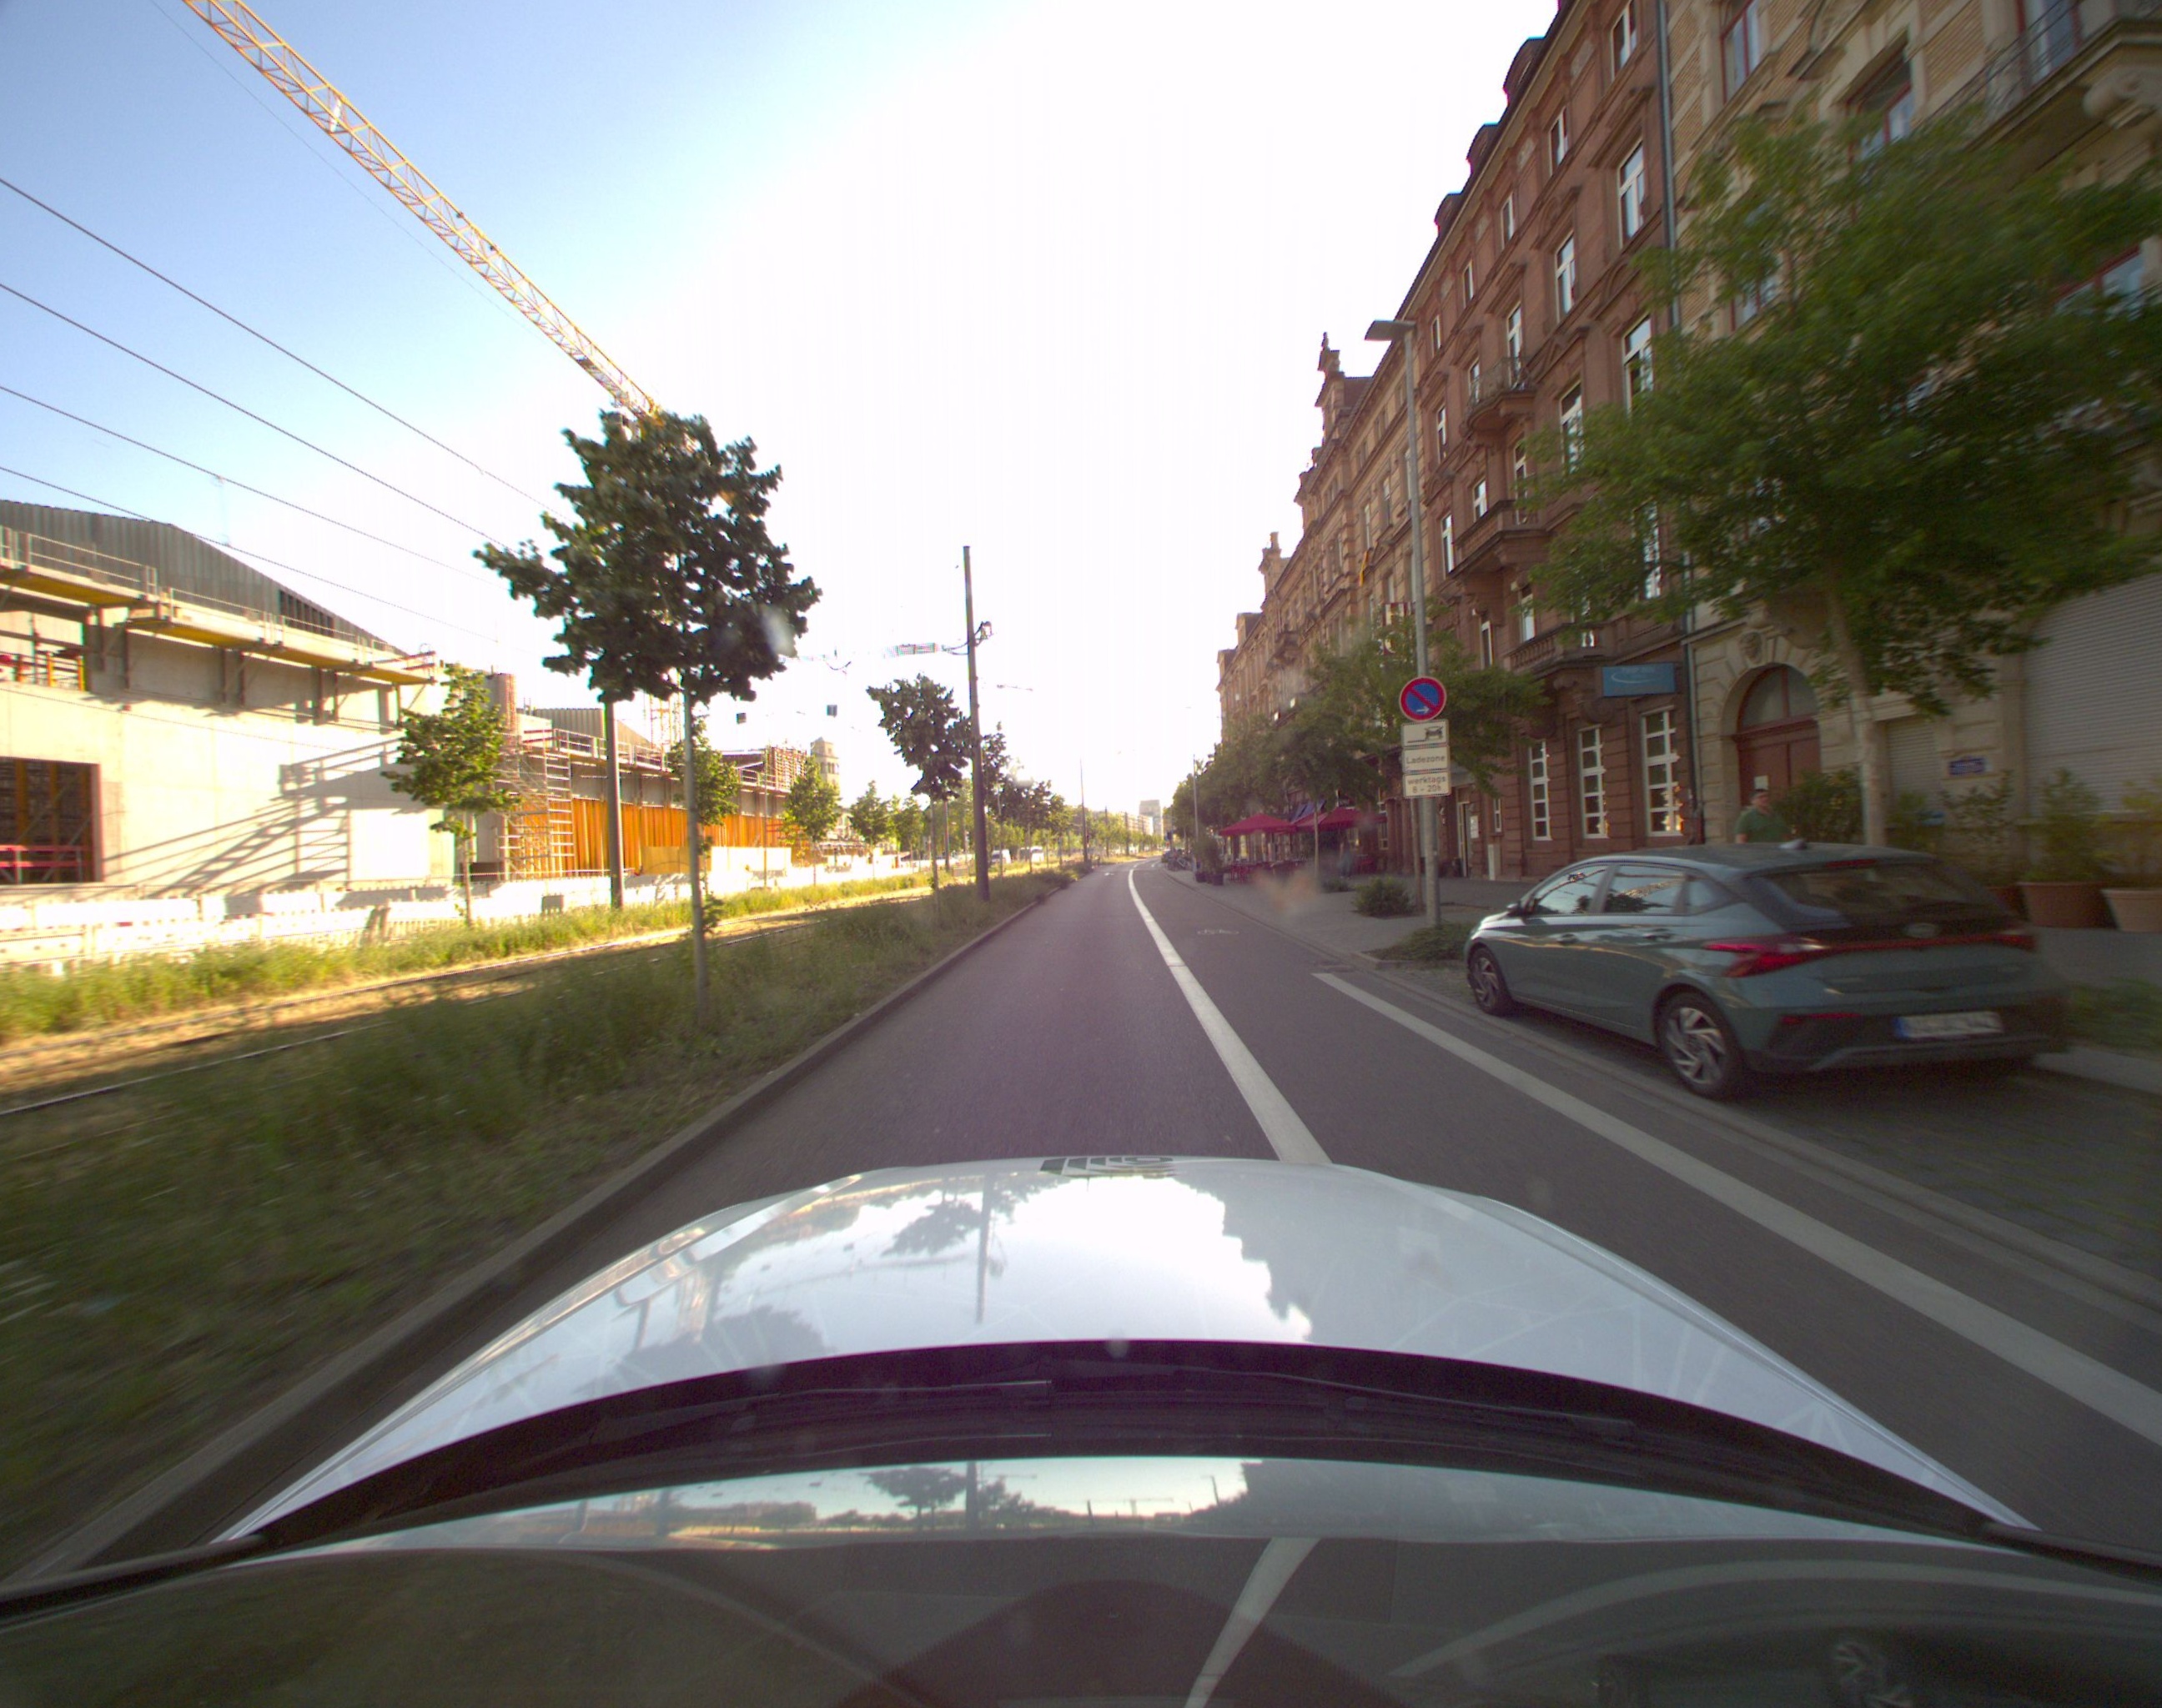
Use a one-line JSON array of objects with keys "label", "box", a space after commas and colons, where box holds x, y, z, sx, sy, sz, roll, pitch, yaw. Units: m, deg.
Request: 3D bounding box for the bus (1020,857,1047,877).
[{"label": "bus", "box": [-9.679, 2.665, 167.523, 2.782, 3.594, 12.732, -3, 0, 10]}]

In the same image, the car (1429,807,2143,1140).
[{"label": "car", "box": [4.513, 0.603, 6.313, 1.841, 1.564, 4.299, -5, 0, 2]}]

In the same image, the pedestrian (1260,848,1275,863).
[{"label": "pedestrian", "box": [12.522, 0.075, 54.638, 0.810, 0.962, 0.805, -3, 0, 4]}]

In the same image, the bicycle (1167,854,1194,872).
[{"label": "bicycle", "box": [7.259, 0.650, 59.505, 1.834, 1.104, 0.567, -5, 0, 7]}]

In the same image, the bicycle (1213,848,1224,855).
[{"label": "bicycle", "box": [24.174, -0.472, 143.009, 1.891, 1.093, 0.393, -4, 0, 3]}]

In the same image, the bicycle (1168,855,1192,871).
[{"label": "bicycle", "box": [7.581, 0.689, 62.593, 1.712, 1.104, 0.508, -5, 0, 7]}]

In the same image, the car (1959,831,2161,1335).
[{"label": "car", "box": [4.033, 0.632, 0.248, 1.842, 1.454, 5.253, -5, 0, 1]}]

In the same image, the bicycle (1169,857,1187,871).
[{"label": "bicycle", "box": [7.291, 0.762, 61.098, 1.267, 0.877, 0.508, -5, 0, 7]}]

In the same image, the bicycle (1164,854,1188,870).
[{"label": "bicycle", "box": [7.528, 0.663, 64.471, 1.744, 1.104, 0.508, -5, 0, 7]}]

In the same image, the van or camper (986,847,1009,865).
[{"label": "van or camper", "box": [-12.745, 0.282, 124.520, 2.213, 2.509, 7.205, -5, 1, 2]}]

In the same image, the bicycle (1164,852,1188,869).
[{"label": "bicycle", "box": [7.462, 0.514, 63.883, 1.744, 1.104, 0.508, -5, 0, 7]}]

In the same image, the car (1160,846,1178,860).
[{"label": "car", "box": [11.399, -0.135, 105.623, 1.923, 1.598, 4.703, -5, 0, 3]}]

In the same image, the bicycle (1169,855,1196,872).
[{"label": "bicycle", "box": [7.207, 0.685, 57.868, 1.795, 1.047, 0.567, -5, 0, 7]}]

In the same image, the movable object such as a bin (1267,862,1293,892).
[{"label": "movable object such as a bin", "box": [6.554, 0.760, 26.848, 0.669, 0.924, 0.563, -6, -2, 22]}]

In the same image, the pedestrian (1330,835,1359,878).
[{"label": "pedestrian", "box": [9.808, 0.101, 30.350, 0.725, 1.533, 0.797, -5, 0, 2]}]

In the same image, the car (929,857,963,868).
[{"label": "car", "box": [-23.049, 1.447, 139.040, 5.197, 1.717, 2.130, -3, 0, 8]}]

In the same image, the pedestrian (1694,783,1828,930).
[{"label": "pedestrian", "box": [8.767, 0.029, 10.548, 0.744, 1.754, 1.072, -4, 0, 2]}]
